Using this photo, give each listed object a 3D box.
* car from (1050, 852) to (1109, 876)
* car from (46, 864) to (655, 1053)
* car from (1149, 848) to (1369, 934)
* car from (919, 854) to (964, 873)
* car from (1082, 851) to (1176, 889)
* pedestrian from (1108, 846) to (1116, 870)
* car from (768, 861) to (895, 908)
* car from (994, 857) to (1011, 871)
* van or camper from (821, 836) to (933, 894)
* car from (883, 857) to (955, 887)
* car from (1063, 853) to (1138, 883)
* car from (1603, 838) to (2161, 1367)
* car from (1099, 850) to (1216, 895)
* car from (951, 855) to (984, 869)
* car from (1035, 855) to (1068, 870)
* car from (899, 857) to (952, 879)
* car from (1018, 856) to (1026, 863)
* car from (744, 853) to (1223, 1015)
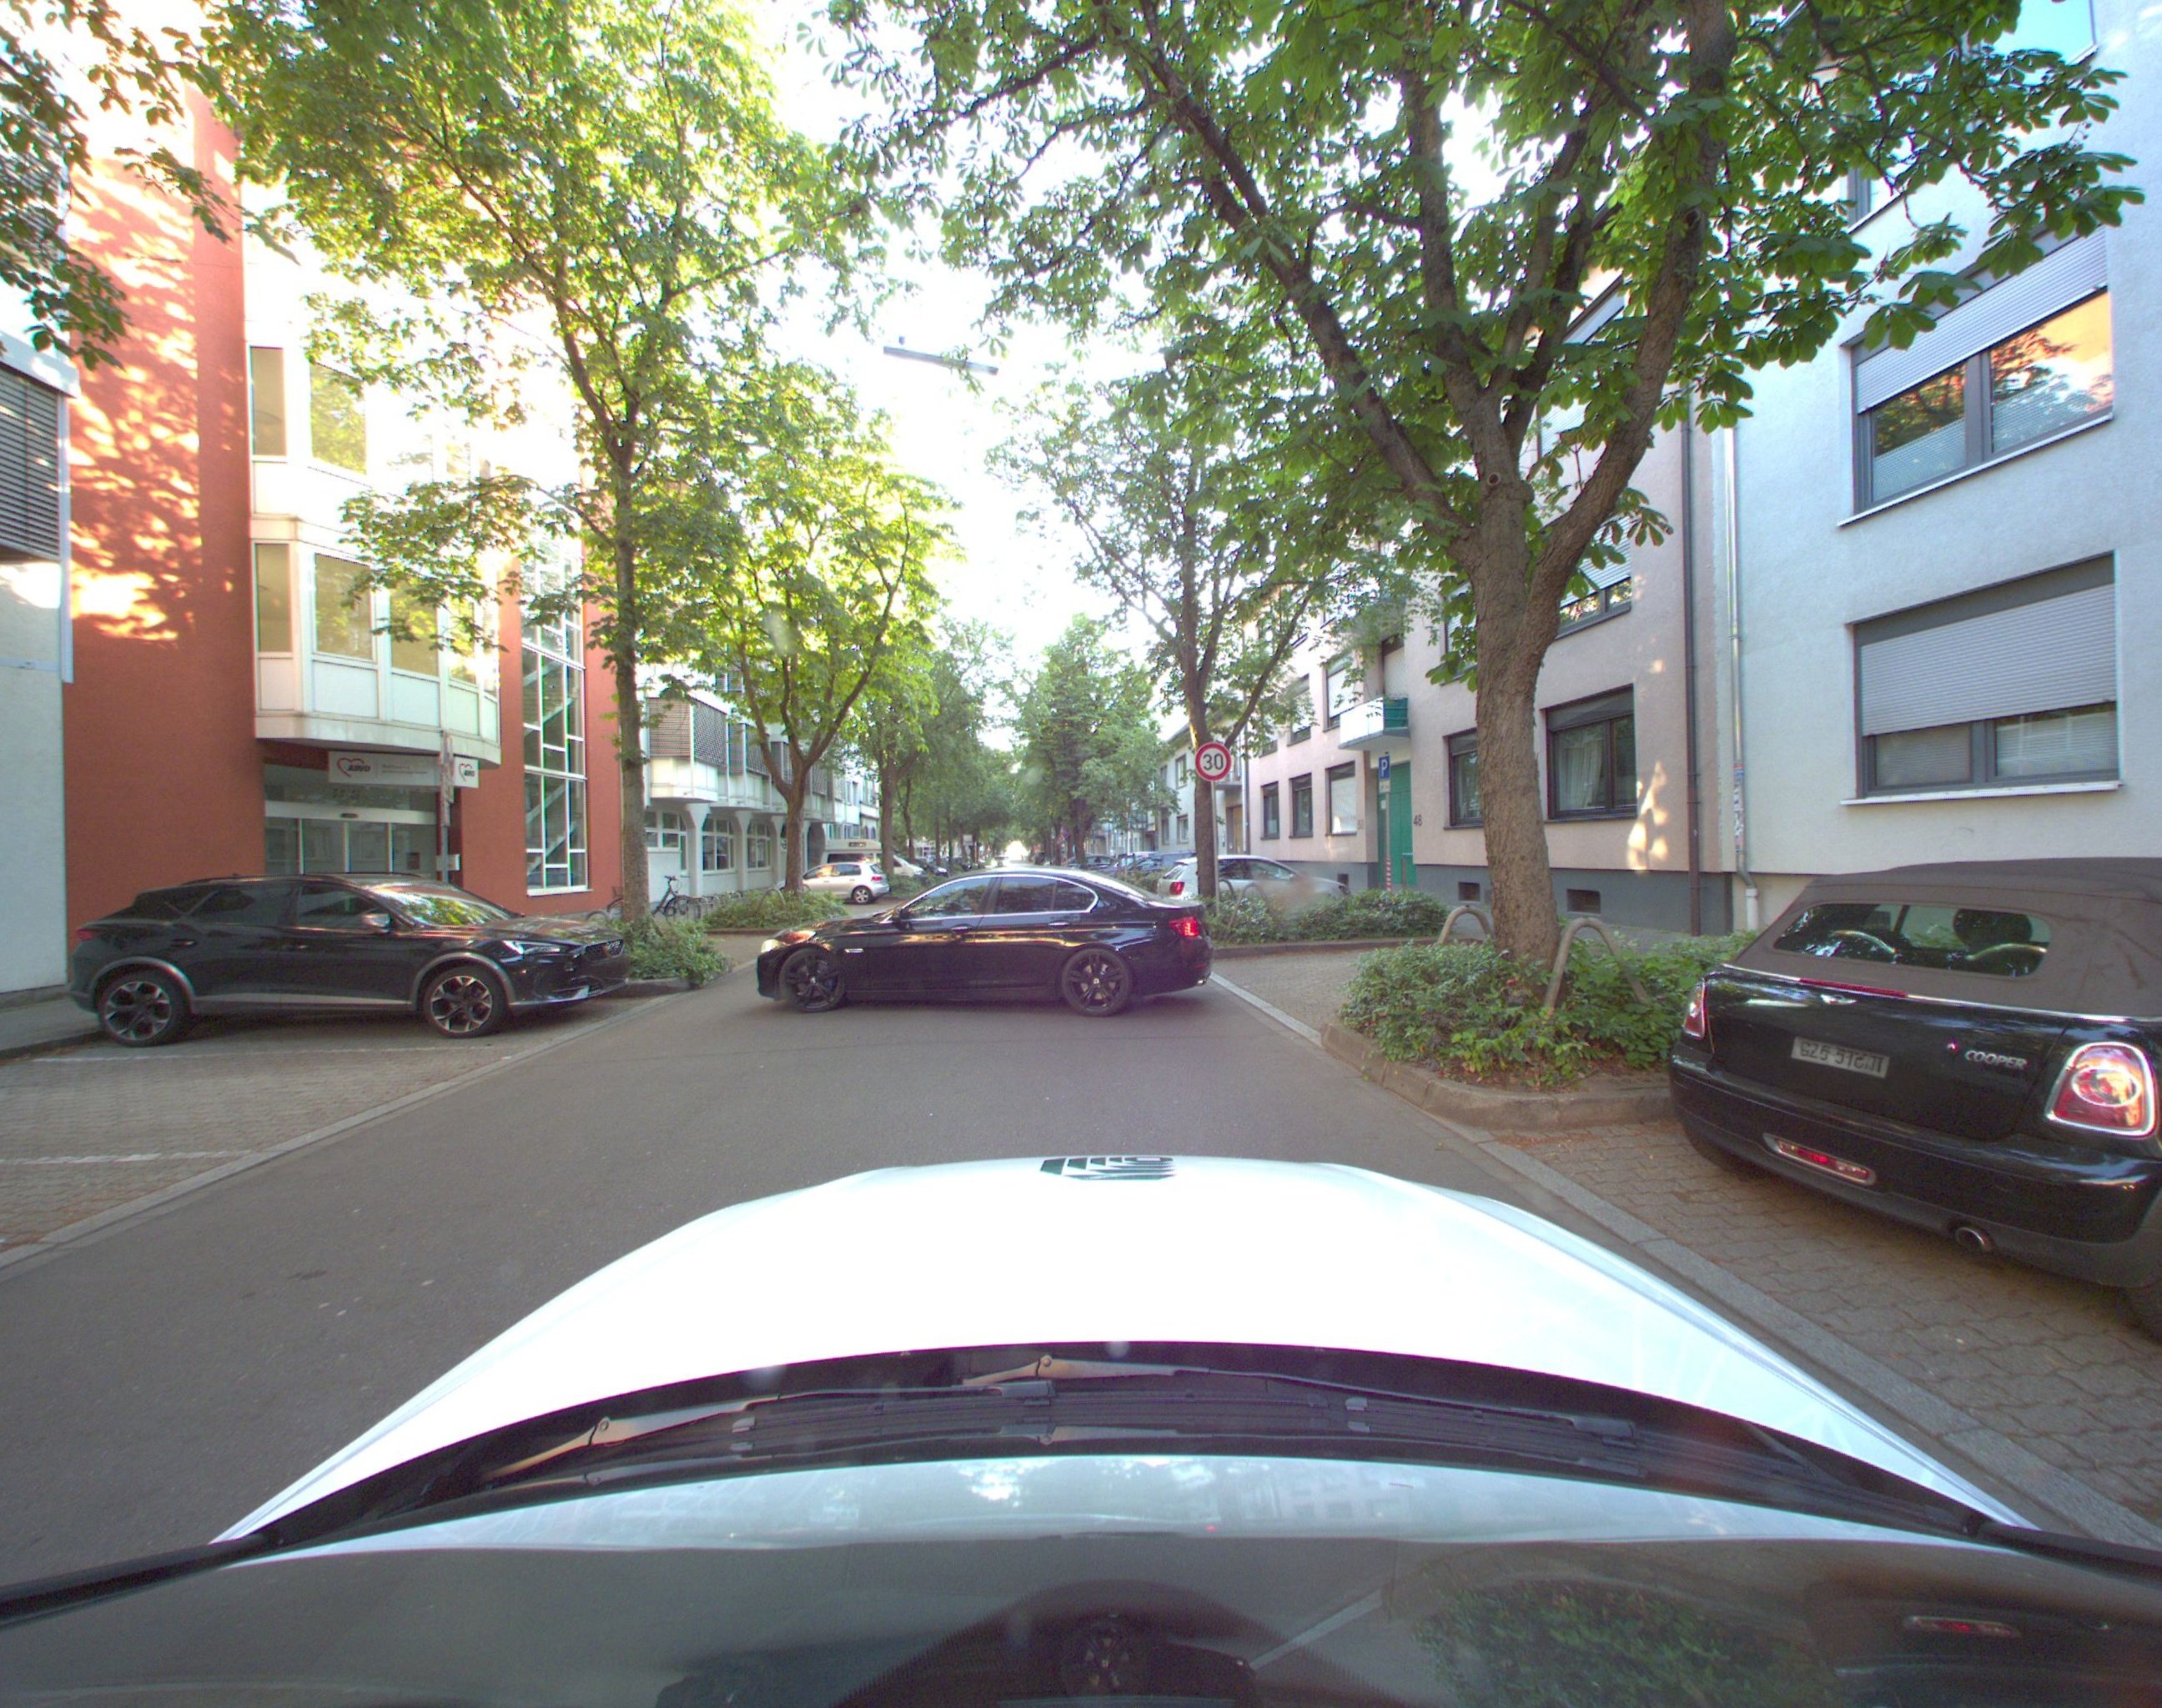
[{"bbox_3d":[-0.155,0.673,56.979,3.963,1.527,1.781,-2,0,-6],"label":"car"},{"bbox_3d":[-7.014,0.935,8.265,4.347,1.517,1.782,-2,0,-5],"label":"car"},{"bbox_3d":[3.444,0.680,16.109,3.904,1.476,1.661,-2,0,-7],"label":"car"},{"bbox_3d":[-13.073,0.883,76.626,3.959,1.619,1.783,-2,0,-4],"label":"car"},{"bbox_3d":[2.091,0.675,36.233,3.962,1.527,1.782,-2,0,-5],"label":"car"},{"bbox_3d":[2.731,0.348,71.171,0.587,2.013,0.669,-1,0,-3],"label":"pedestrian"},{"bbox_3d":[-8.834,1.054,29.077,3.960,1.517,1.783,-2,0,-4],"label":"car"},{"bbox_3d":[-9.183,1.166,95.093,1.775,1.562,4.162,-1,0,-4],"label":"car"},{"bbox_3d":[-9.278,0.495,37.411,4.656,2.478,1.997,-1,0,-5],"label":"van or camper"},{"bbox_3d":[-9.576,1.057,48.414,3.960,1.619,1.783,-2,0,-4],"label":"car"},{"bbox_3d":[1.034,0.754,45.075,3.962,1.527,1.782,-2,0,-5],"label":"car"},{"bbox_3d":[4.354,0.635,3.259,3.608,1.363,1.660,-2,0,-8],"label":"car"},{"bbox_3d":[2.758,0.637,29.745,3.963,1.476,1.781,-2,0,-7],"label":"car"},{"bbox_3d":[-14.289,1.029,103.016,3.959,1.619,1.783,-2,0,-4],"label":"car"},{"bbox_3d":[-3.697,1.079,101.046,3.959,1.684,1.783,-2,0,-4],"label":"car"},{"bbox_3d":[-12.376,1.086,64.961,3.959,1.619,1.783,-2,0,-4],"label":"car"},{"bbox_3d":[-13.901,1.196,192.314,1.819,1.530,3.995,-2,0,-4],"label":"car"},{"bbox_3d":[-0.892,0.795,8.739,4.717,1.480,1.805,-1,0,9],"label":"car"}]
